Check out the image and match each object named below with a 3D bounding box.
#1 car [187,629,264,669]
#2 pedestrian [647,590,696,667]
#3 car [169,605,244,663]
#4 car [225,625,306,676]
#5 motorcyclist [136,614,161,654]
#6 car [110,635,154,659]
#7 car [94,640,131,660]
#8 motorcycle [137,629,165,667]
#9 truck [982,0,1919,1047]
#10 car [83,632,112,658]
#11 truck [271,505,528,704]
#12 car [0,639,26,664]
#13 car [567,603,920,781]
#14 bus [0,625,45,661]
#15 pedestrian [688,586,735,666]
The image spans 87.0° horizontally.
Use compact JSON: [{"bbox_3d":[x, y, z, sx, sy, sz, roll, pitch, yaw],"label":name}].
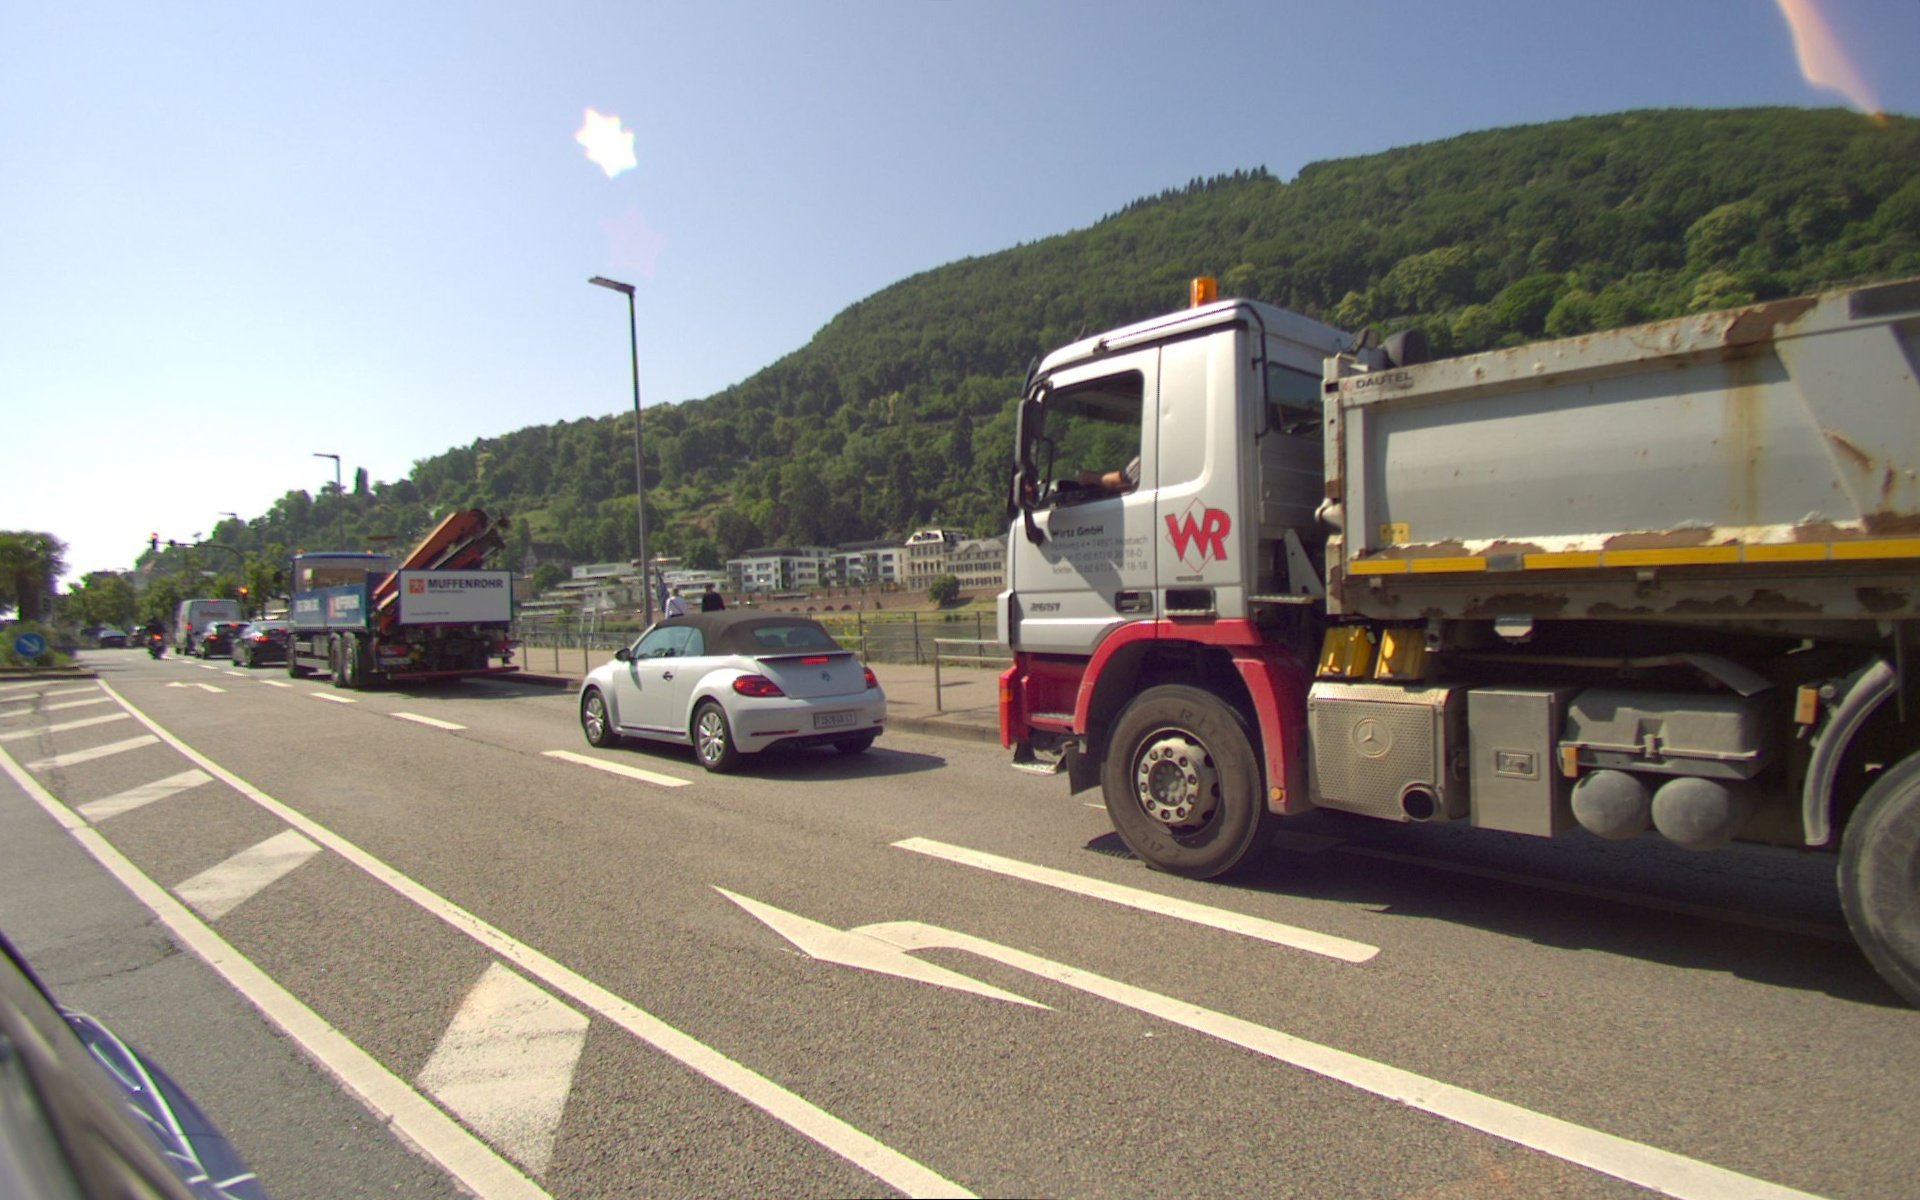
[{"bbox_3d":[-29.302,1.930,40.304,1.969,1.429,4.926,-1,-1,-42],"label":"car"},{"bbox_3d":[-6.729,0.670,23.596,0.703,1.719,0.846,-4,1,-41],"label":"pedestrian"},{"bbox_3d":[-34.664,1.586,46.486,2.168,2.545,4.753,3,-3,-43],"label":"car"},{"bbox_3d":[-21.978,1.546,31.973,1.637,1.447,4.086,-1,-1,-41],"label":"car"},{"bbox_3d":[-31.672,1.333,39.492,0.693,1.538,0.862,-1,-1,-41],"label":"motorcyclist"},{"bbox_3d":[-55.106,3.115,67.349,1.970,1.463,4.265,-2,0,-43],"label":"car"},{"bbox_3d":[-66.047,3.867,78.831,1.881,1.447,3.894,-1,0,-45],"label":"car"},{"bbox_3d":[-31.425,1.859,39.311,0.717,1.397,2.515,-1,-1,-41],"label":"motorcycle"},{"bbox_3d":[3.794,-0.302,4.362,2.611,3.483,7.878,1,-2,-43],"label":"truck"},{"bbox_3d":[-75.191,3.898,88.159,1.842,2.166,5.029,-1,-1,-41],"label":"car"},{"bbox_3d":[-13.053,0.231,22.816,2.610,3.503,11.120,-1,-1,-42],"label":"truck"},{"bbox_3d":[-63.976,3.465,67.785,1.969,1.517,4.597,-1,-3,-41],"label":"car"},{"bbox_3d":[-2.396,0.808,10.492,1.757,1.454,4.001,-1,-1,-43],"label":"car"},{"bbox_3d":[-97.128,4.426,104.248,10.782,3.413,2.623,-2,-1,39],"label":"bus"},{"bbox_3d":[-5.869,0.604,23.912,0.758,1.817,0.636,-4,1,-42],"label":"pedestrian"}]
